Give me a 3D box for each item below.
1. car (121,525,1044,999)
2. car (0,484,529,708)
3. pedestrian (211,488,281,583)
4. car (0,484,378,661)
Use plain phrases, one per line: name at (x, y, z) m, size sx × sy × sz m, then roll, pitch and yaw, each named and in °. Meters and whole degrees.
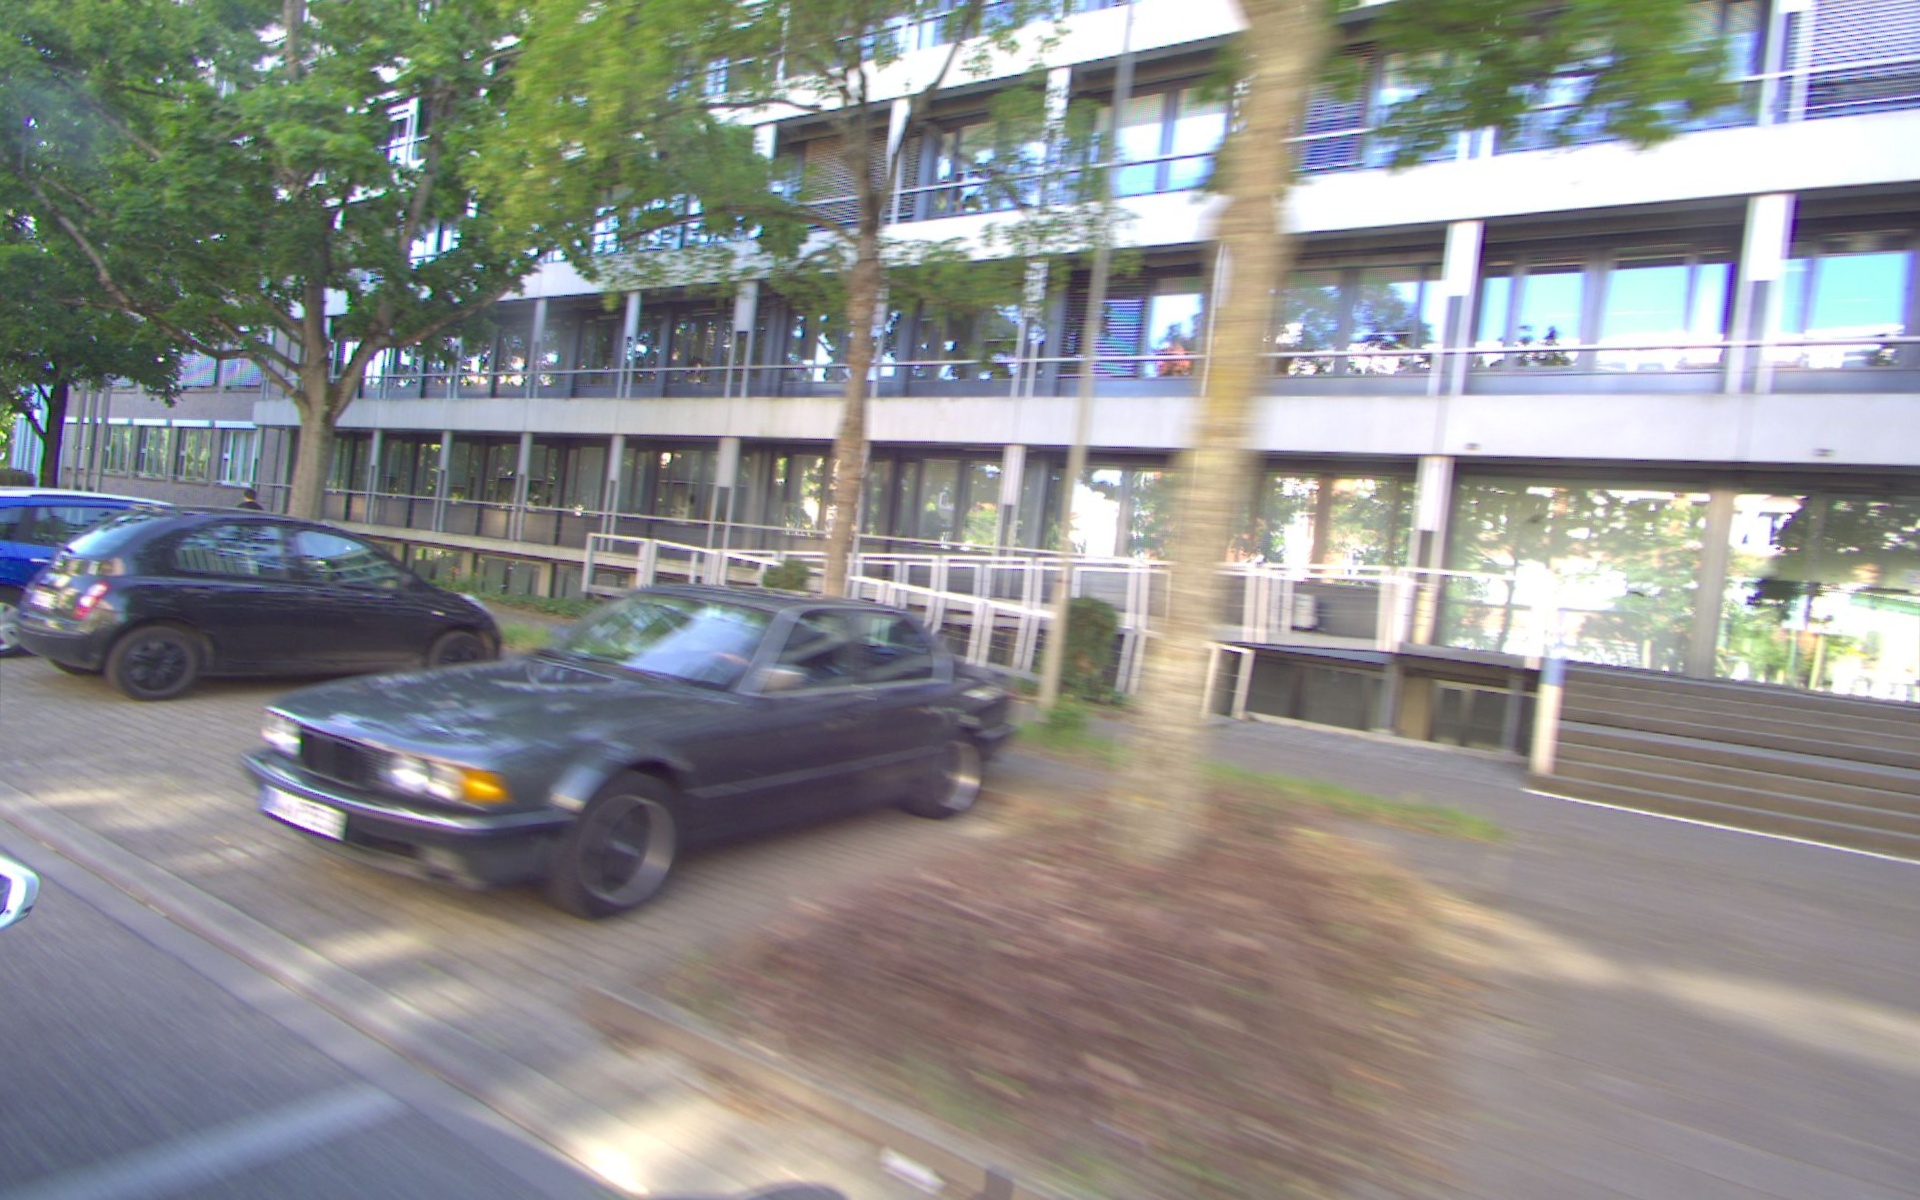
car at (-1.479, 0.578, 5.876) m, size 1.997 × 1.438 × 4.829 m, roll 7°, pitch 1°, yaw 29°
car at (-6.132, -0.016, 9.137) m, size 1.782 × 1.534 × 3.643 m, roll 7°, pitch 2°, yaw 31°
pedestrian at (-14.246, -1.285, 20.065) m, size 1.171 × 1.768 × 0.608 m, roll 7°, pitch 2°, yaw 31°
car at (-8.426, -0.269, 10.193) m, size 1.783 × 1.534 × 3.950 m, roll 7°, pitch 2°, yaw 32°
